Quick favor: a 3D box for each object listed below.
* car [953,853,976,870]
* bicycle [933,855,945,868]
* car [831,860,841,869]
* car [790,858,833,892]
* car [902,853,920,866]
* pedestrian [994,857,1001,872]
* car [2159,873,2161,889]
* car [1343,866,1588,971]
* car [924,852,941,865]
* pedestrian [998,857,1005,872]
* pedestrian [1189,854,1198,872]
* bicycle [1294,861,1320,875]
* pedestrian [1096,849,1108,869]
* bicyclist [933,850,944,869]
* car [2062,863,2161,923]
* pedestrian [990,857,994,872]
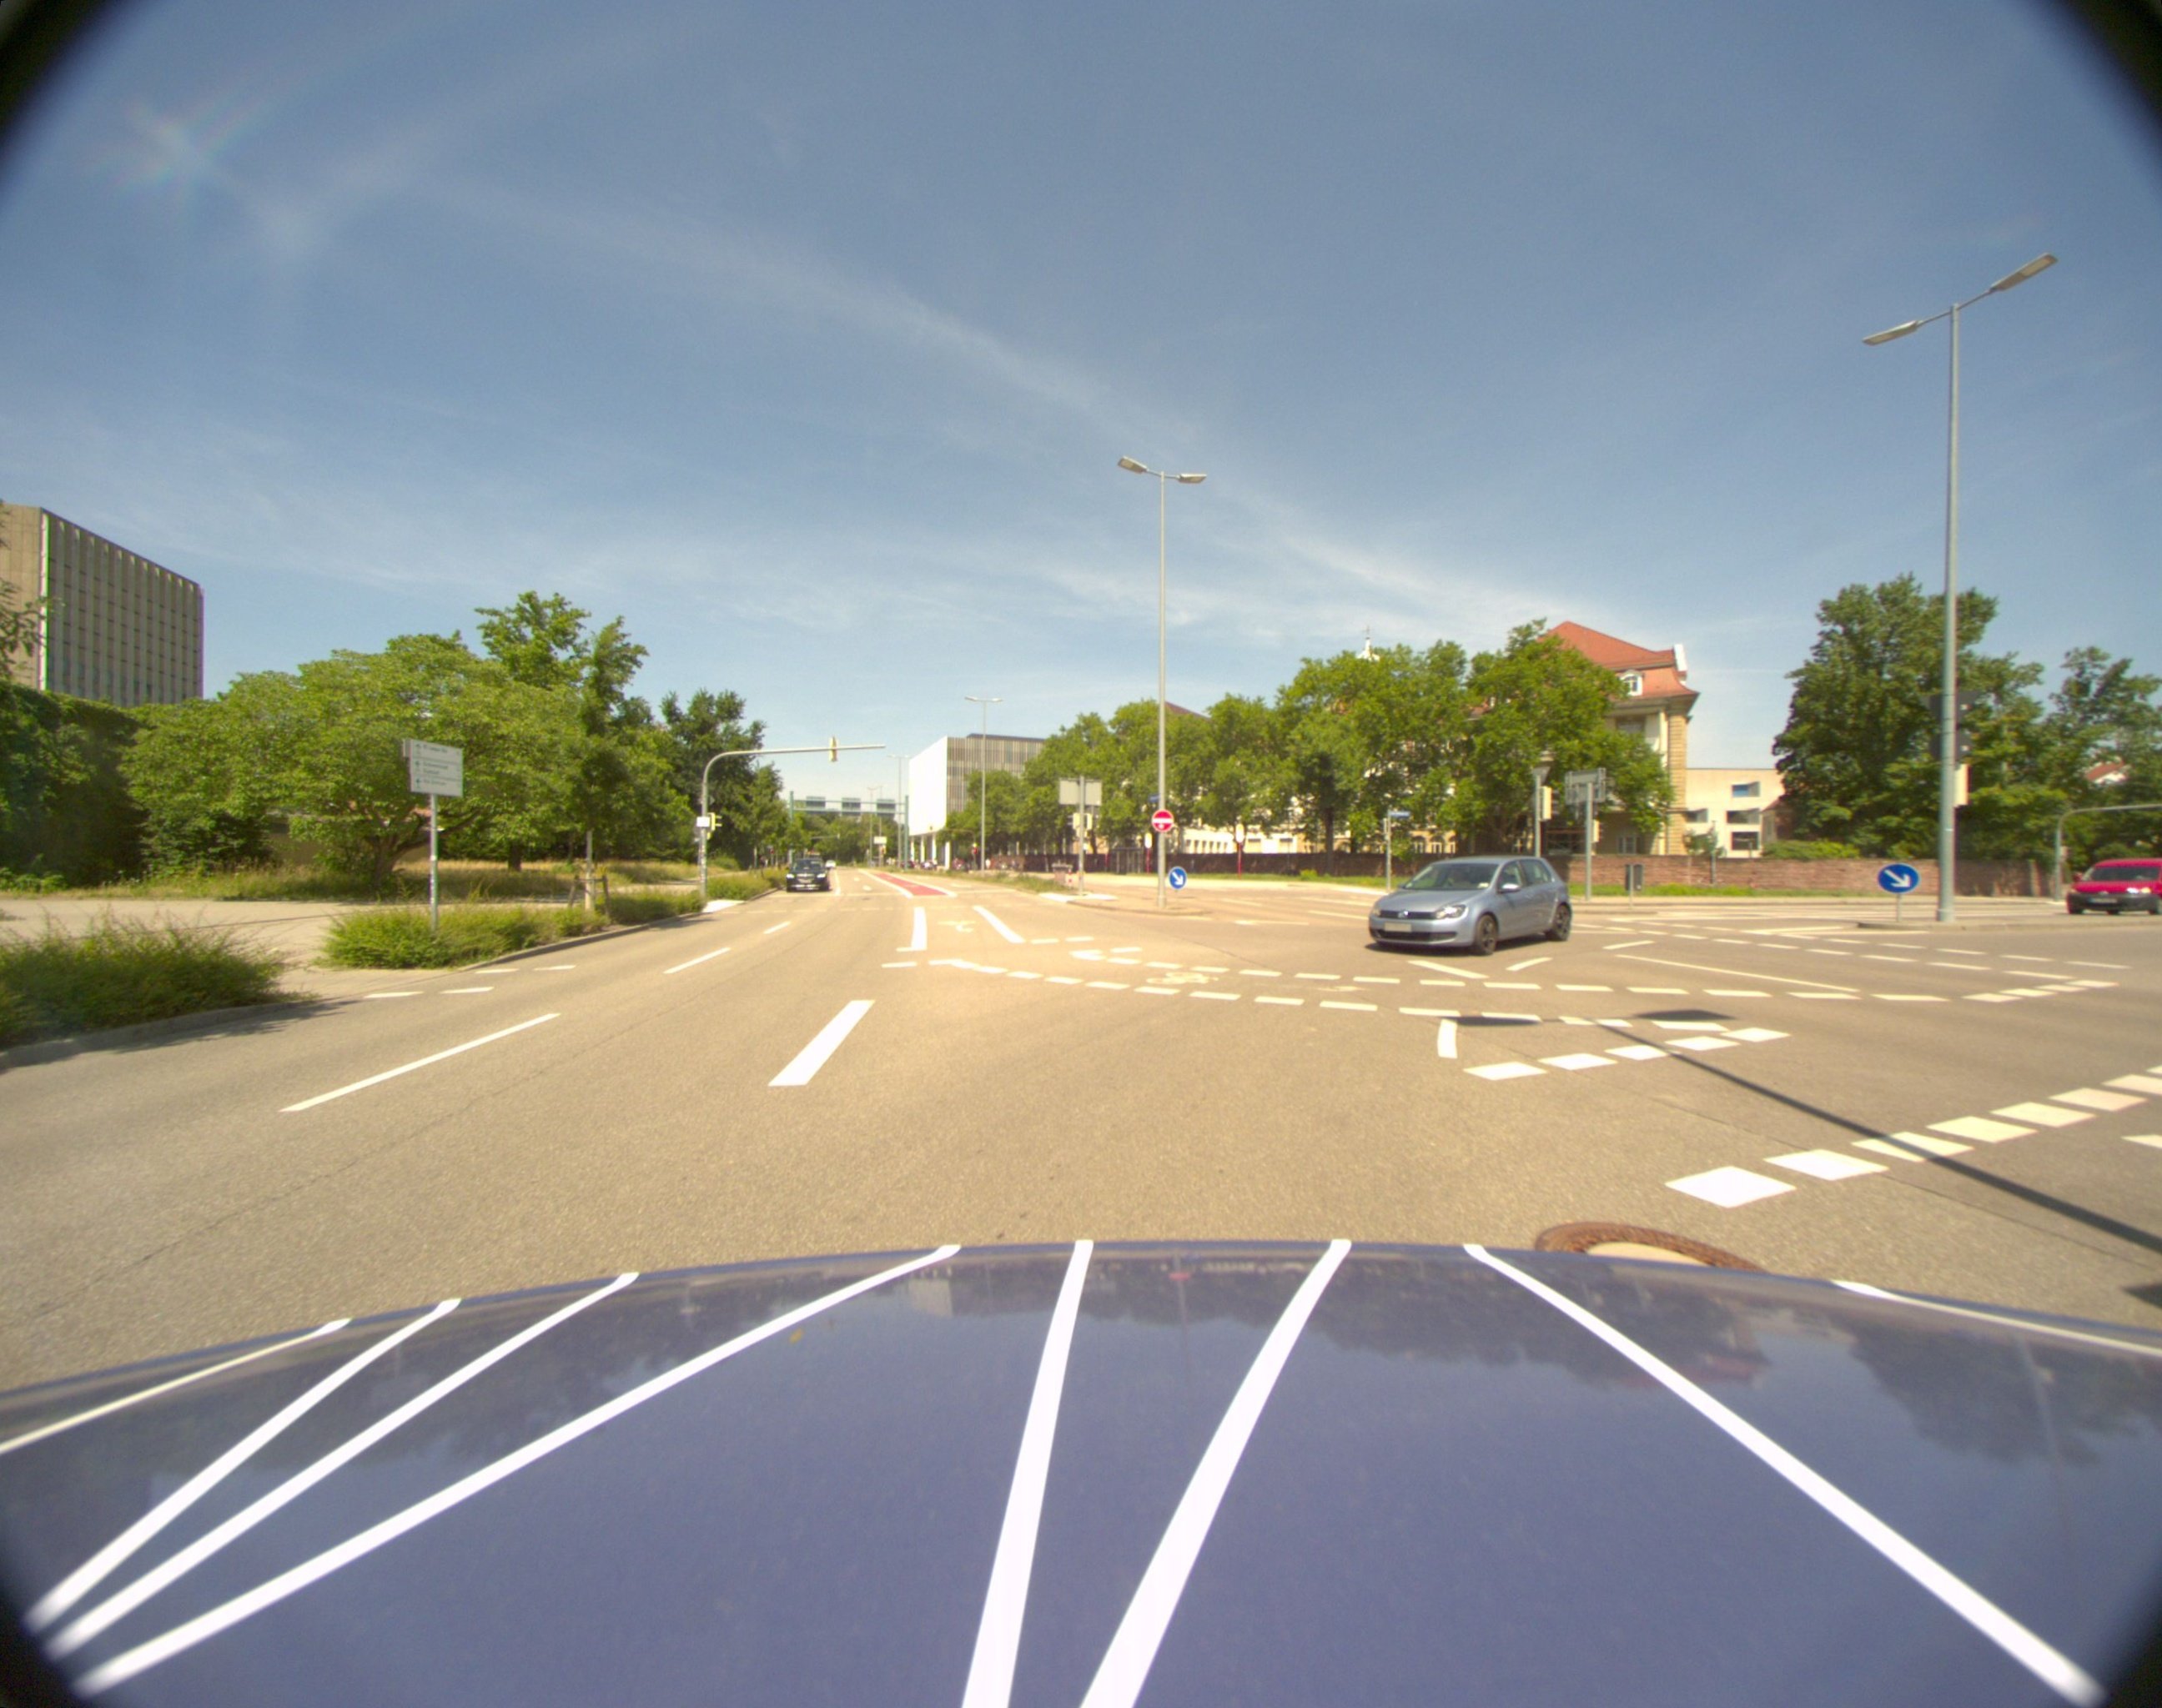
[{"bbox_3d":[-14.633,0.916,95.351,2.002,2.001,4.208,0,-2,-20],"label":"car"},{"bbox_3d":[-14.175,0.754,75.953,0.522,1.229,2.187,1,-2,-29],"label":"bicycle"},{"bbox_3d":[-46.434,2.057,143.812,1.738,1.675,3.910,0,-2,-20],"label":"car"},{"bbox_3d":[-13.540,1.016,38.370,1.710,1.577,4.549,0,0,-15],"label":"car"},{"bbox_3d":[-22.731,0.747,101.456,1.780,1.658,3.994,0,-2,-22],"label":"car"},{"bbox_3d":[-11.521,1.454,104.407,0.790,2.001,0.962,0,-2,-20],"label":"pedestrian"},{"bbox_3d":[99.320,2.516,67.455,1.817,1.420,4.432,2,1,17],"label":"car"},{"bbox_3d":[6.320,0.918,12.379,4.002,1.406,1.829,0,0,-34],"label":"car"},{"bbox_3d":[-20.013,0.654,102.360,1.783,1.673,3.995,0,-2,-18],"label":"car"},{"bbox_3d":[-10.900,1.462,104.723,0.790,2.001,0.839,0,-2,-20],"label":"pedestrian"},{"bbox_3d":[11.013,0.902,74.335,0.525,1.710,0.590,-2,-2,45],"label":"pedestrian"},{"bbox_3d":[19.716,1.199,66.268,2.163,1.175,0.459,-2,-2,41],"label":"bicycle"},{"bbox_3d":[2.358,0.551,85.900,0.851,2.276,1.073,1,-2,-33],"label":"pedestrian"},{"bbox_3d":[-14.216,0.526,75.892,0.710,1.875,1.136,1,-2,-29],"label":"bicyclist"},{"bbox_3d":[33.076,1.196,23.909,4.285,1.755,1.830,1,-2,-26],"label":"car"},{"bbox_3d":[-12.164,1.439,103.929,0.550,2.001,0.535,0,-2,-20],"label":"pedestrian"}]
